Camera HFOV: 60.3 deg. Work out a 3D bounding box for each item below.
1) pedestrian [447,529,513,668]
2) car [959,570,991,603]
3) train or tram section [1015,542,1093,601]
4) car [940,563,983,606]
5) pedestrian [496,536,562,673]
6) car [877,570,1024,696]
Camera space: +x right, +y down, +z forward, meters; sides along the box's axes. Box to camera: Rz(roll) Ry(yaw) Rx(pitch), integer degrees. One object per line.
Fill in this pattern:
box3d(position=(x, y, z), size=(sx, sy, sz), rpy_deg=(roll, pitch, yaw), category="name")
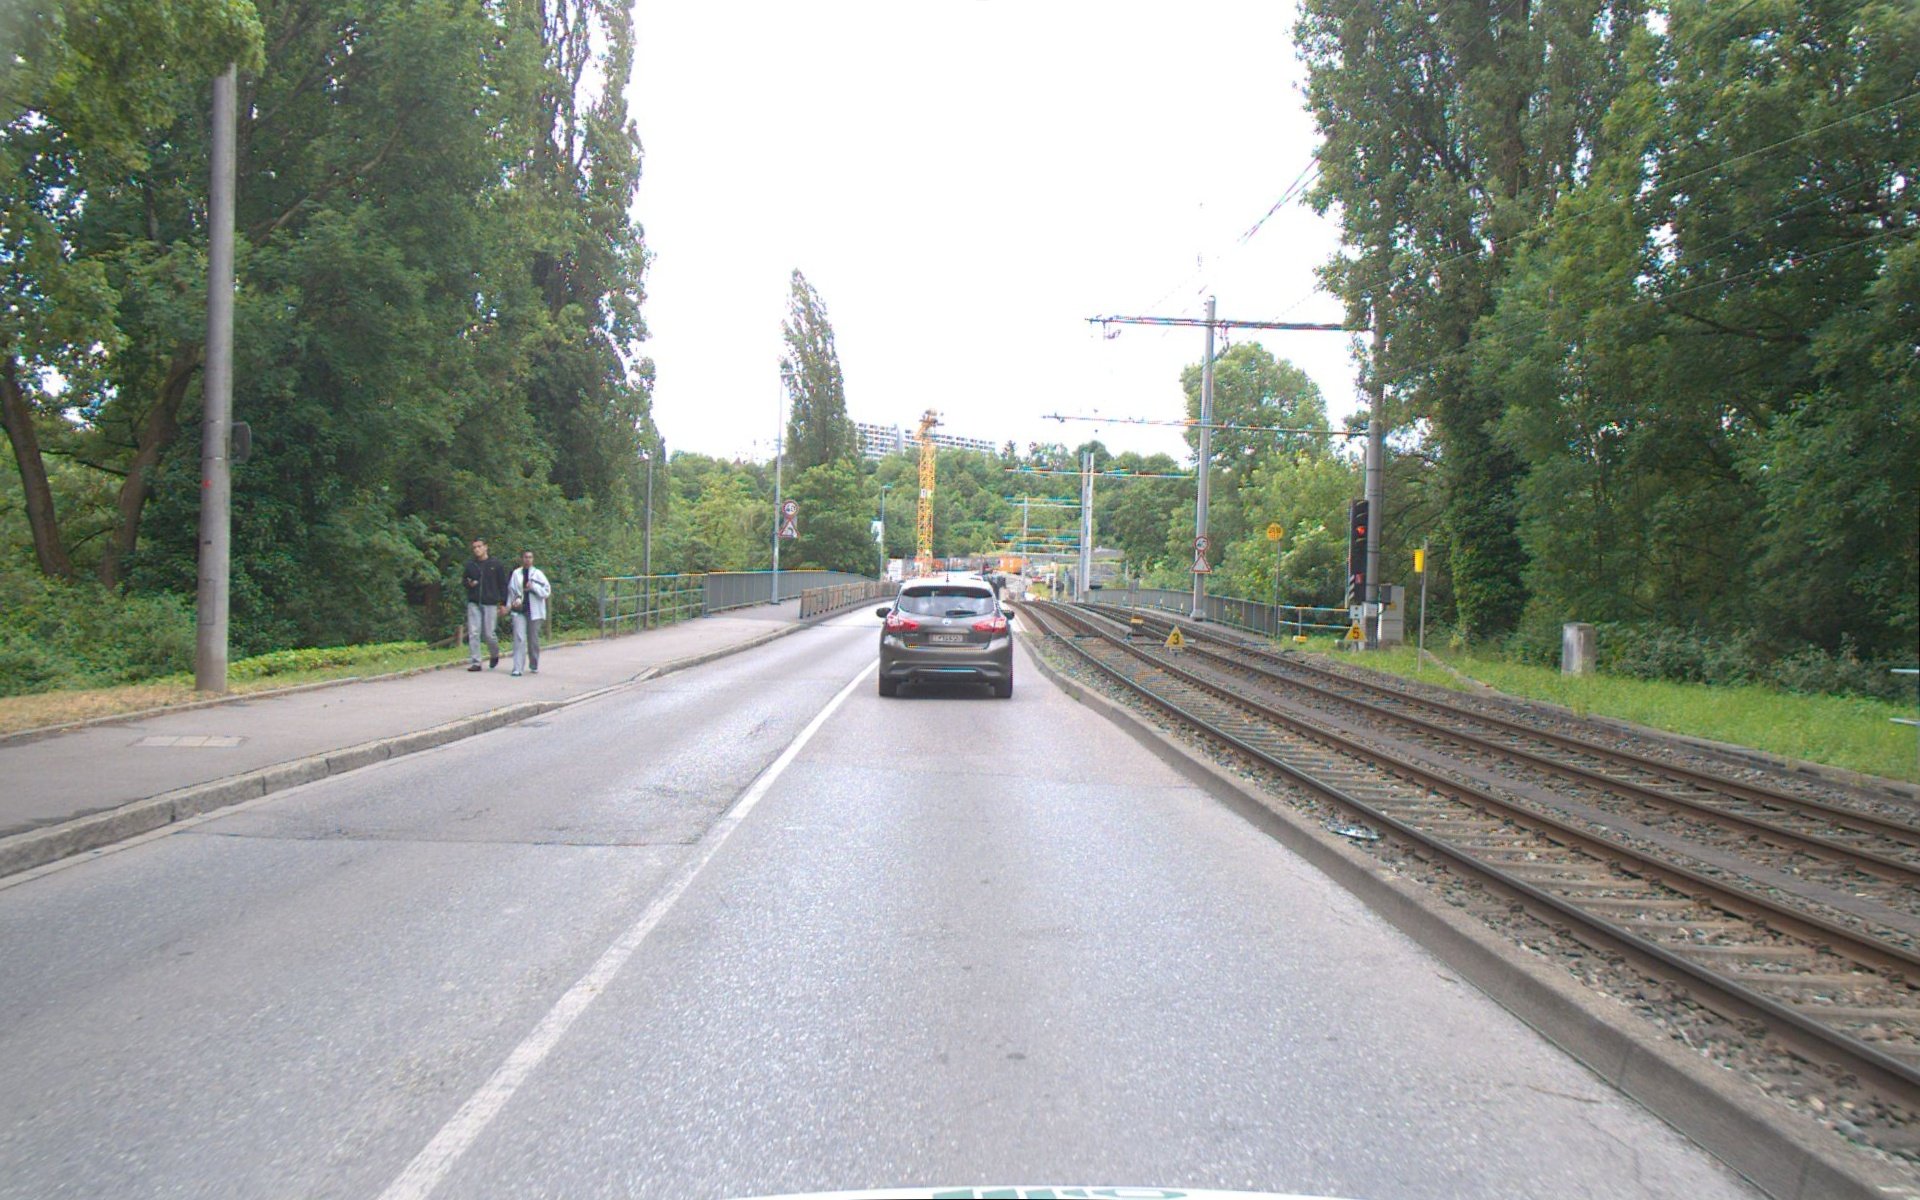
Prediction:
box3d(position=(-6.556, -0.026, 22.610), size=(0.575, 1.834, 0.822), rpy_deg=(3, 1, -1), category="pedestrian")
box3d(position=(0.850, -0.749, 90.491), size=(1.645, 1.634, 4.310), rpy_deg=(3, 1, 1), category="car")
box3d(position=(9.323, -2.694, 169.088), size=(2.972, 5.272, 23.005), rpy_deg=(3, -1, -9), category="train or tram section")
box3d(position=(0.051, -0.682, 68.694), size=(1.646, 1.634, 4.309), rpy_deg=(3, 1, -1), category="car")
box3d(position=(-5.896, 0.053, 22.656), size=(0.540, 1.795, 0.858), rpy_deg=(5, 1, -1), category="pedestrian")
box3d(position=(-0.212, 0.409, 22.568), size=(1.793, 1.536, 3.998), rpy_deg=(1, 0, -3), category="car")
